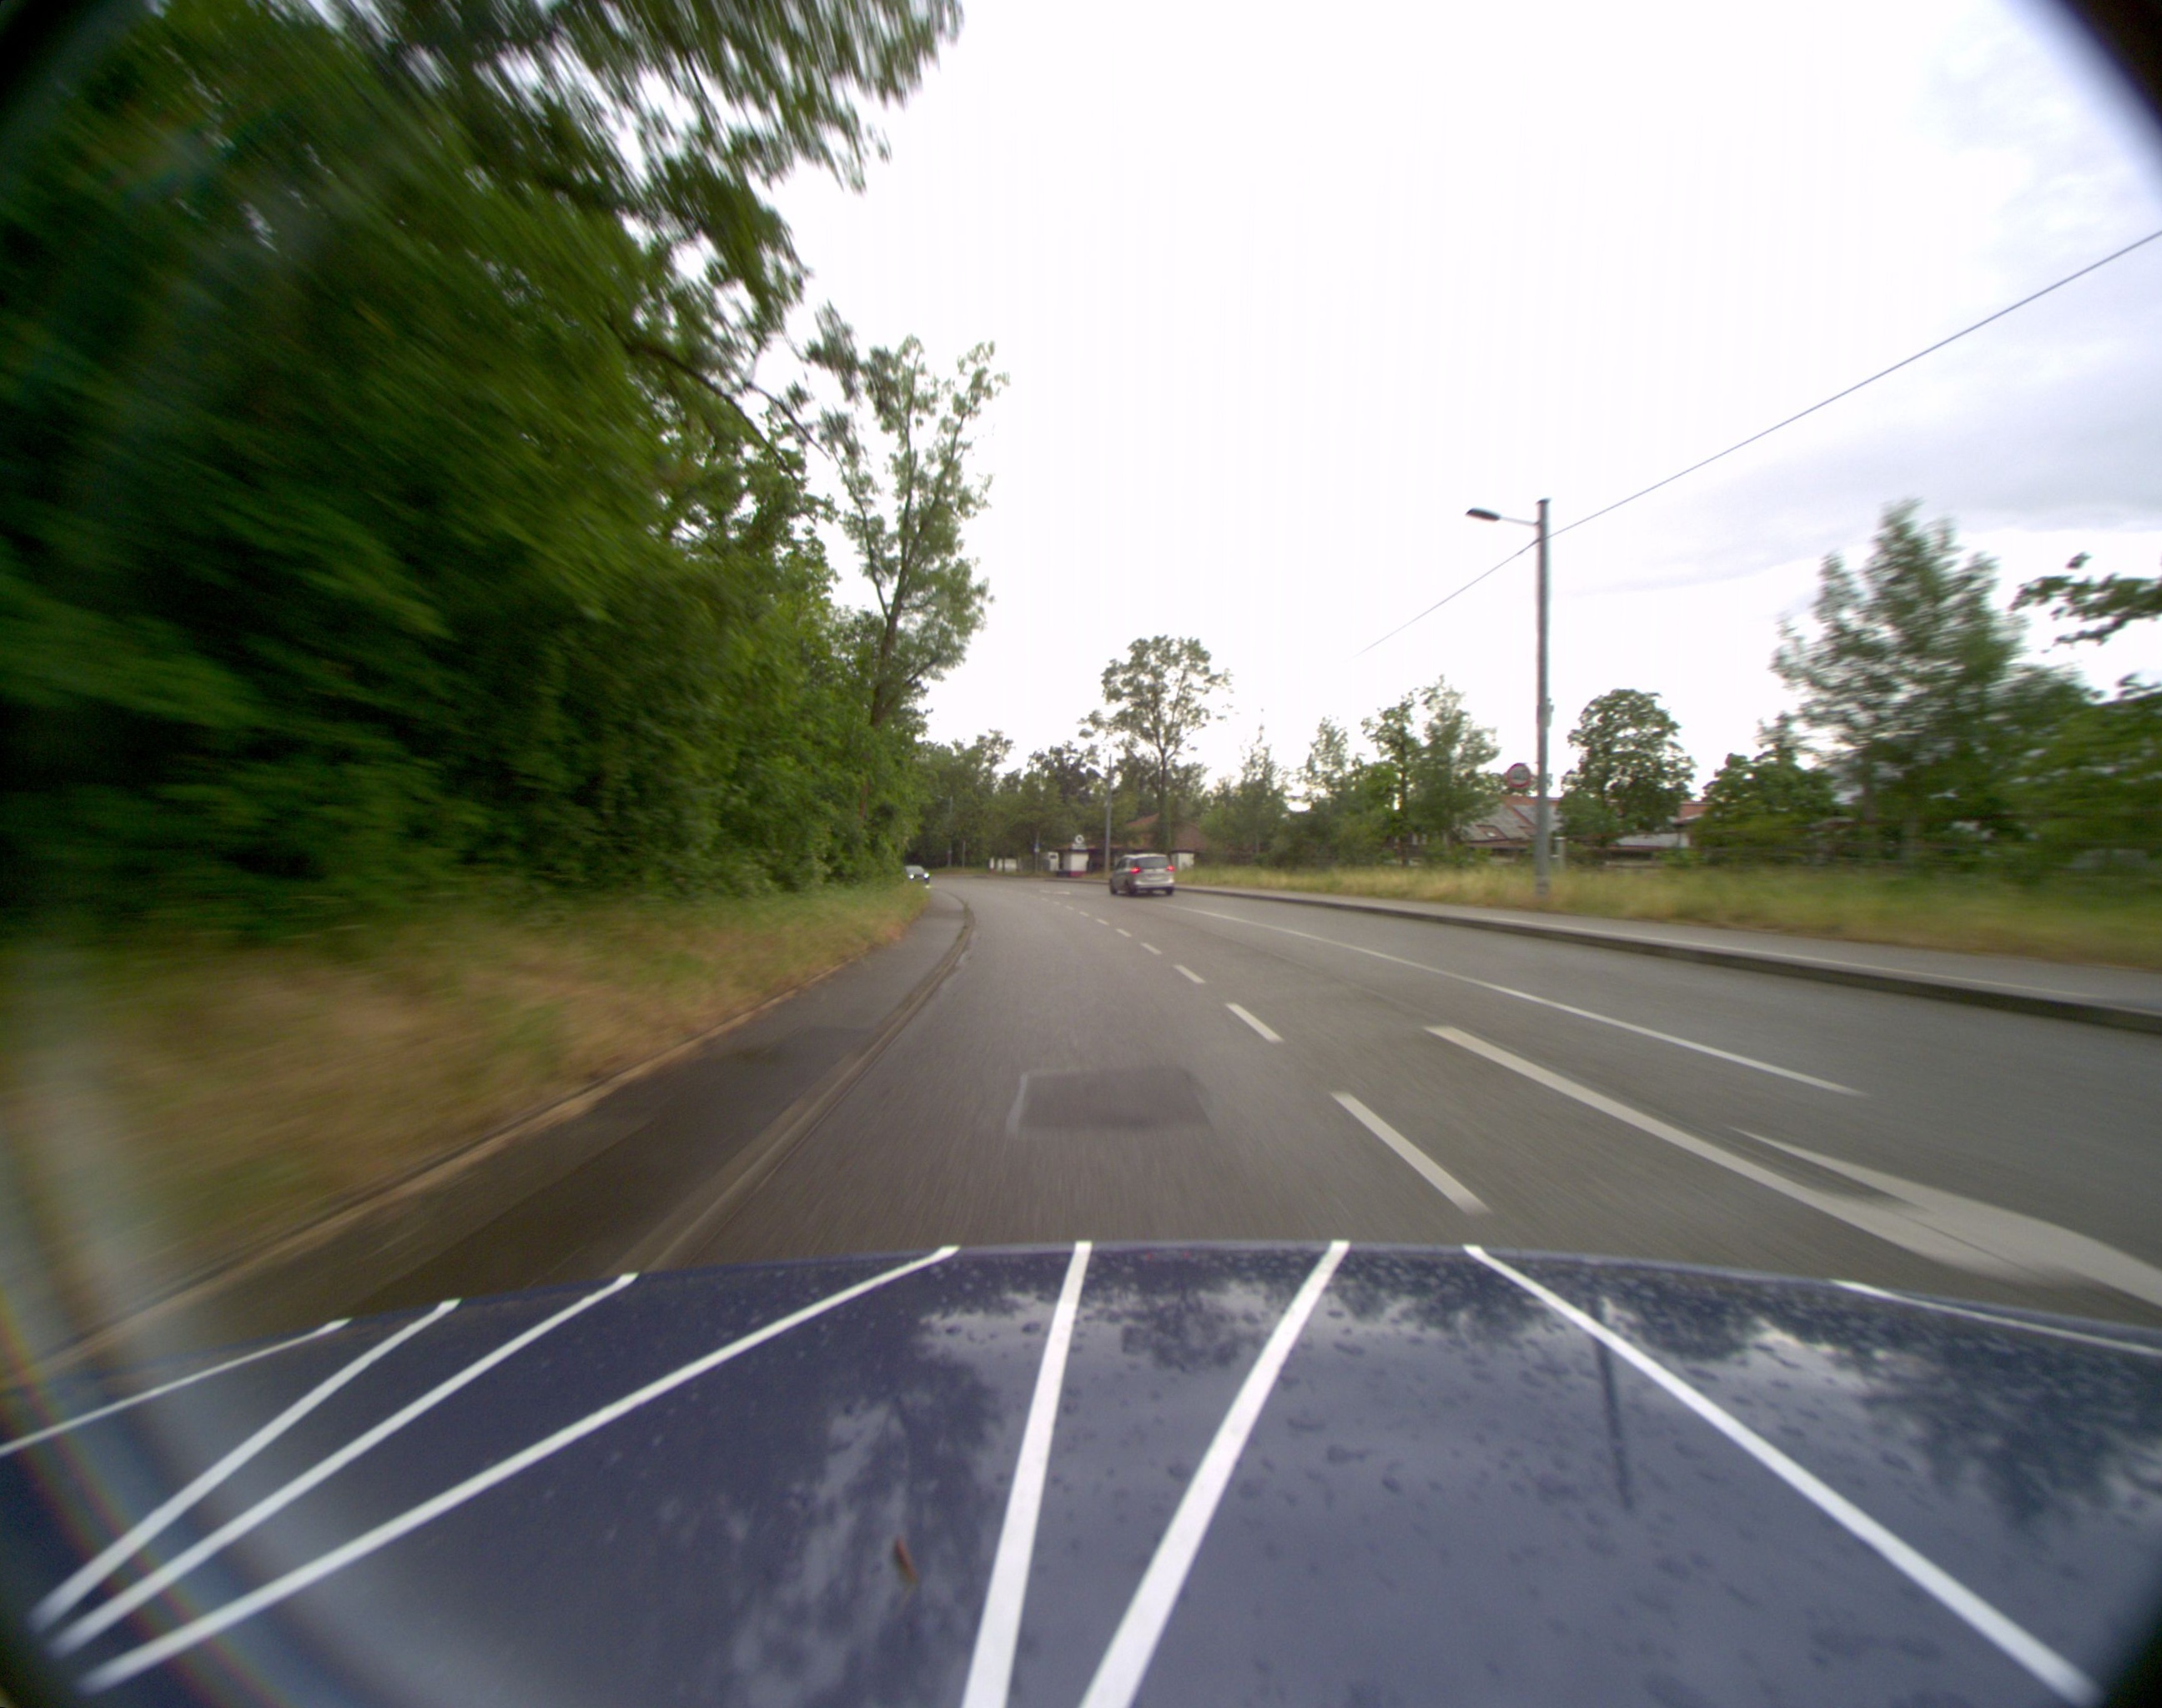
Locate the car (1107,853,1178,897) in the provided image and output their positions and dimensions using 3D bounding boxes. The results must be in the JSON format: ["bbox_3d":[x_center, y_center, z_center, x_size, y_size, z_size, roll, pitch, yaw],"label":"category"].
[{"bbox_3d":[2.418,0.807,30.976,1.765,1.605,4.414,-3,0,-10],"label":"car"}]
